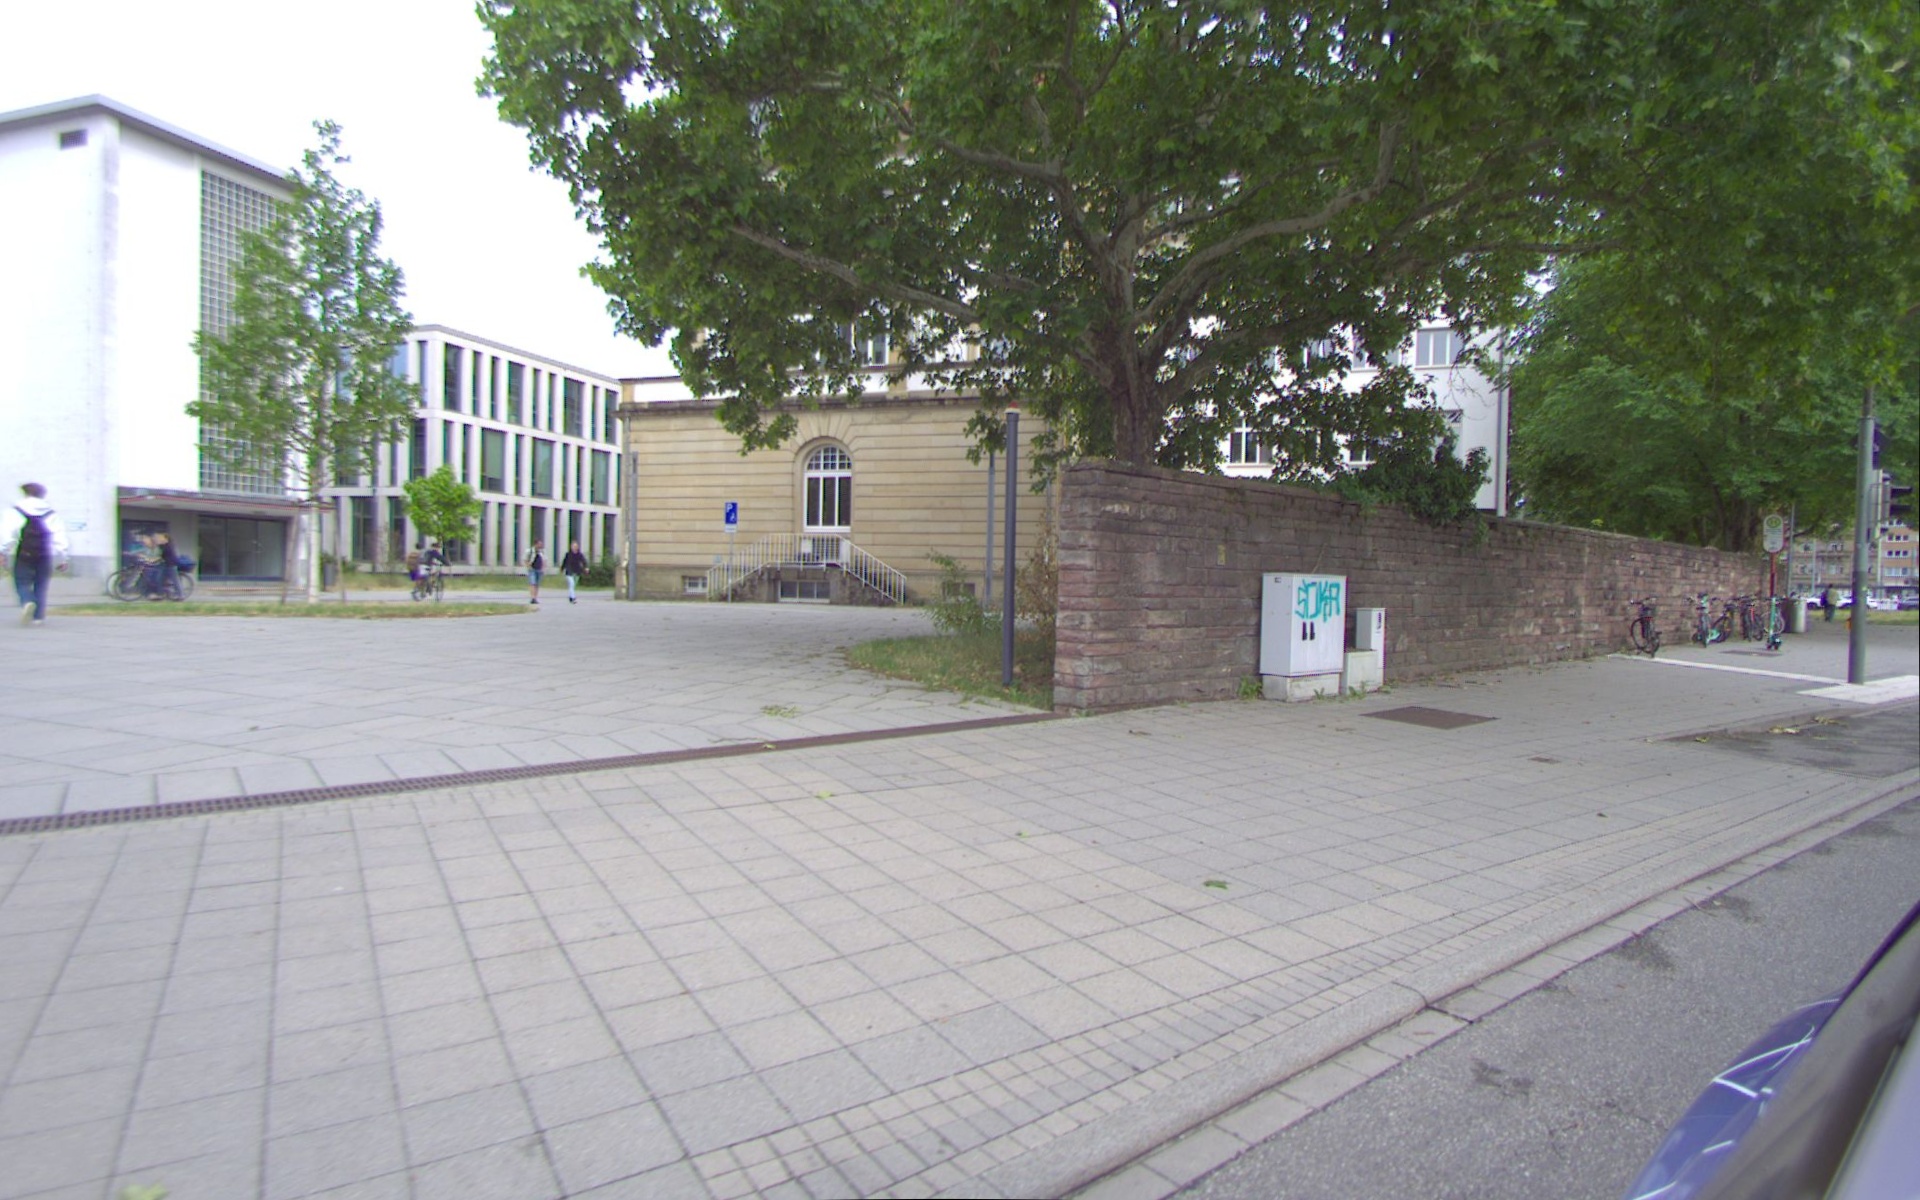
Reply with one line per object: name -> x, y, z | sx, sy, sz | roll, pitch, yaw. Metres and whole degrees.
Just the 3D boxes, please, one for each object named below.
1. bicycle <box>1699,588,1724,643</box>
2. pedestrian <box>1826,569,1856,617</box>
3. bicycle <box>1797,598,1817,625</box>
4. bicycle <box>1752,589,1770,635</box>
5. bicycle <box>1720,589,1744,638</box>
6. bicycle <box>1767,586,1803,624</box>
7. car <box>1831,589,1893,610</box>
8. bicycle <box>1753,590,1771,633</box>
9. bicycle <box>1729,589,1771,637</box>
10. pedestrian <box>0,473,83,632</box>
bicycle -> 16.550, 0.319, 22.291 | 0.384, 1.158, 1.917 | 0, 0, 35
pedestrian -> 38.429, -0.326, 44.146 | 0.778, 2.038, 0.879 | 3, 1, 33
bicycle -> 32.168, 0.433, 38.426 | 0.362, 0.951, 1.621 | 2, 2, 33
bicycle -> 21.034, 0.305, 26.569 | 0.337, 1.158, 1.914 | 0, 0, 40
bicycle -> 18.718, 0.311, 24.544 | 0.384, 1.158, 1.917 | 0, 0, 35
bicycle -> 24.625, 0.149, 30.207 | 2.047, 1.089, 0.477 | 0, 2, -42
car -> 83.982, -0.059, 94.244 | 1.964, 1.792, 3.996 | 0, 2, -39
bicycle -> 22.192, 0.300, 28.000 | 0.337, 1.158, 1.654 | 0, 0, 40
bicycle -> 19.867, 0.308, 25.469 | 0.382, 1.158, 1.925 | 0, 0, 25
pedestrian -> -11.927, -0.610, 13.133 | 0.650, 1.983, 0.679 | 2, 2, 34
